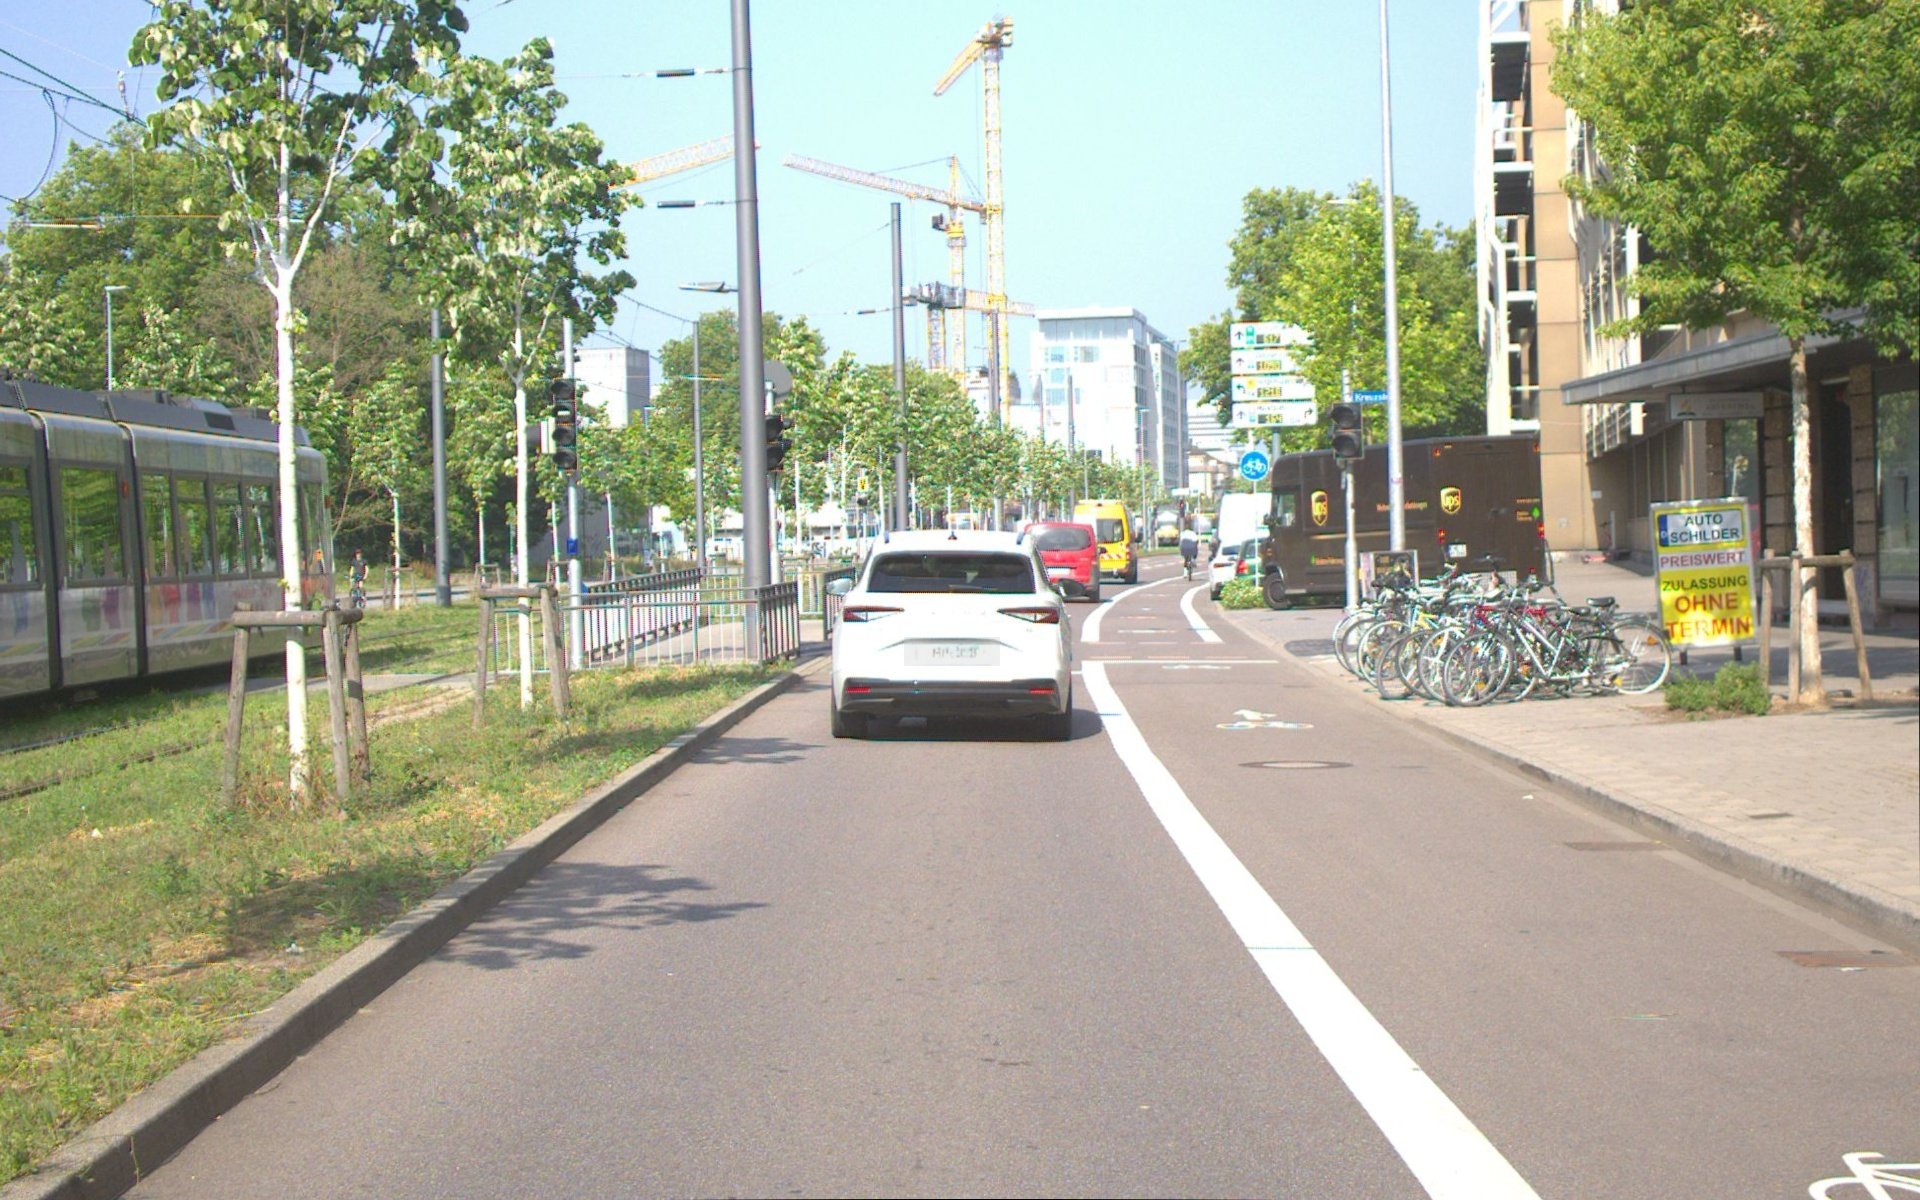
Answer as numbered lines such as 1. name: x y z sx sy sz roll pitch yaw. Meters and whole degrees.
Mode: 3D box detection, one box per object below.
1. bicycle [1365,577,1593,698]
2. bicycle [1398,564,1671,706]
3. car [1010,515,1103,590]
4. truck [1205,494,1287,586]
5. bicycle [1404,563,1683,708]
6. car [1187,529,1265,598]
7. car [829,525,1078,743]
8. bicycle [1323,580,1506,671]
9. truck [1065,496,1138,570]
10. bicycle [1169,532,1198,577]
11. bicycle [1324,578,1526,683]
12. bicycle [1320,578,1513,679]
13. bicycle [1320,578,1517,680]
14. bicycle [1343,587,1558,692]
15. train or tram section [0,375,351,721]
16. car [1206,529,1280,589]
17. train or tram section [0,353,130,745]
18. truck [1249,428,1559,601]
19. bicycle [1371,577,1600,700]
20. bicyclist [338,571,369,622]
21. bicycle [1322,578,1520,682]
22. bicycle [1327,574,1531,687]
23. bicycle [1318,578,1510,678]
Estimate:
1. bicycle: 4.723 0.339 31.323 1.955 0.983 0.471 -3 1 1
2. bicycle: 4.998 0.297 29.974 2.239 1.100 0.519 -3 1 1
3. car: 2.287 -1.128 80.449 1.994 1.678 4.368 -1 1 4
4. truck: 7.998 -1.688 96.407 1.993 2.500 4.000 -1 1 1
5. bicycle: 4.982 0.301 29.418 2.239 1.100 0.588 -3 1 1
6. car: 6.082 -0.851 78.377 1.650 1.494 3.525 -1 1 6
7. car: -0.091 0.213 27.389 1.817 1.584 4.407 0 1 -1
8. bicycle: 4.894 0.271 37.070 1.887 0.860 0.428 -3 1 4
9. truck: 4.598 -2.202 112.478 2.213 2.310 5.890 -1 1 1
10. bicycle: 7.648 -1.573 117.688 0.781 1.491 2.801 -1 1 0
11. bicycle: 4.677 0.305 34.624 1.934 0.942 0.440 -3 1 4
12. bicycle: 4.763 0.295 35.930 1.934 0.942 0.428 -3 1 4
13. bicycle: 4.725 0.298 35.487 1.934 0.942 0.428 -3 1 4
14. bicycle: 4.634 0.373 32.525 1.934 0.871 0.441 -3 1 1
15. train or tram section: -10.101 -0.585 42.005 2.898 3.574 12.225 -2 1 1
16. car: 6.824 -0.992 82.696 1.650 1.380 3.525 -1 1 6
17. train or tram section: -10.205 -0.417 29.420 2.898 3.574 12.934 -2 1 0
18. truck: 8.111 -1.555 63.784 2.509 3.001 6.962 -2 1 -23
19. bicycle: 4.705 0.342 30.843 1.934 0.983 0.471 -3 1 1
20. bicyclist: -18.454 -0.115 104.647 0.696 1.510 1.186 -1 1 1
21. bicycle: 4.701 0.301 35.104 1.934 0.942 0.440 -3 1 4
22. bicycle: 4.654 0.300 34.178 1.934 1.009 0.440 -3 1 4
23. bicycle: 4.800 0.292 36.394 1.934 0.942 0.428 -3 1 4
